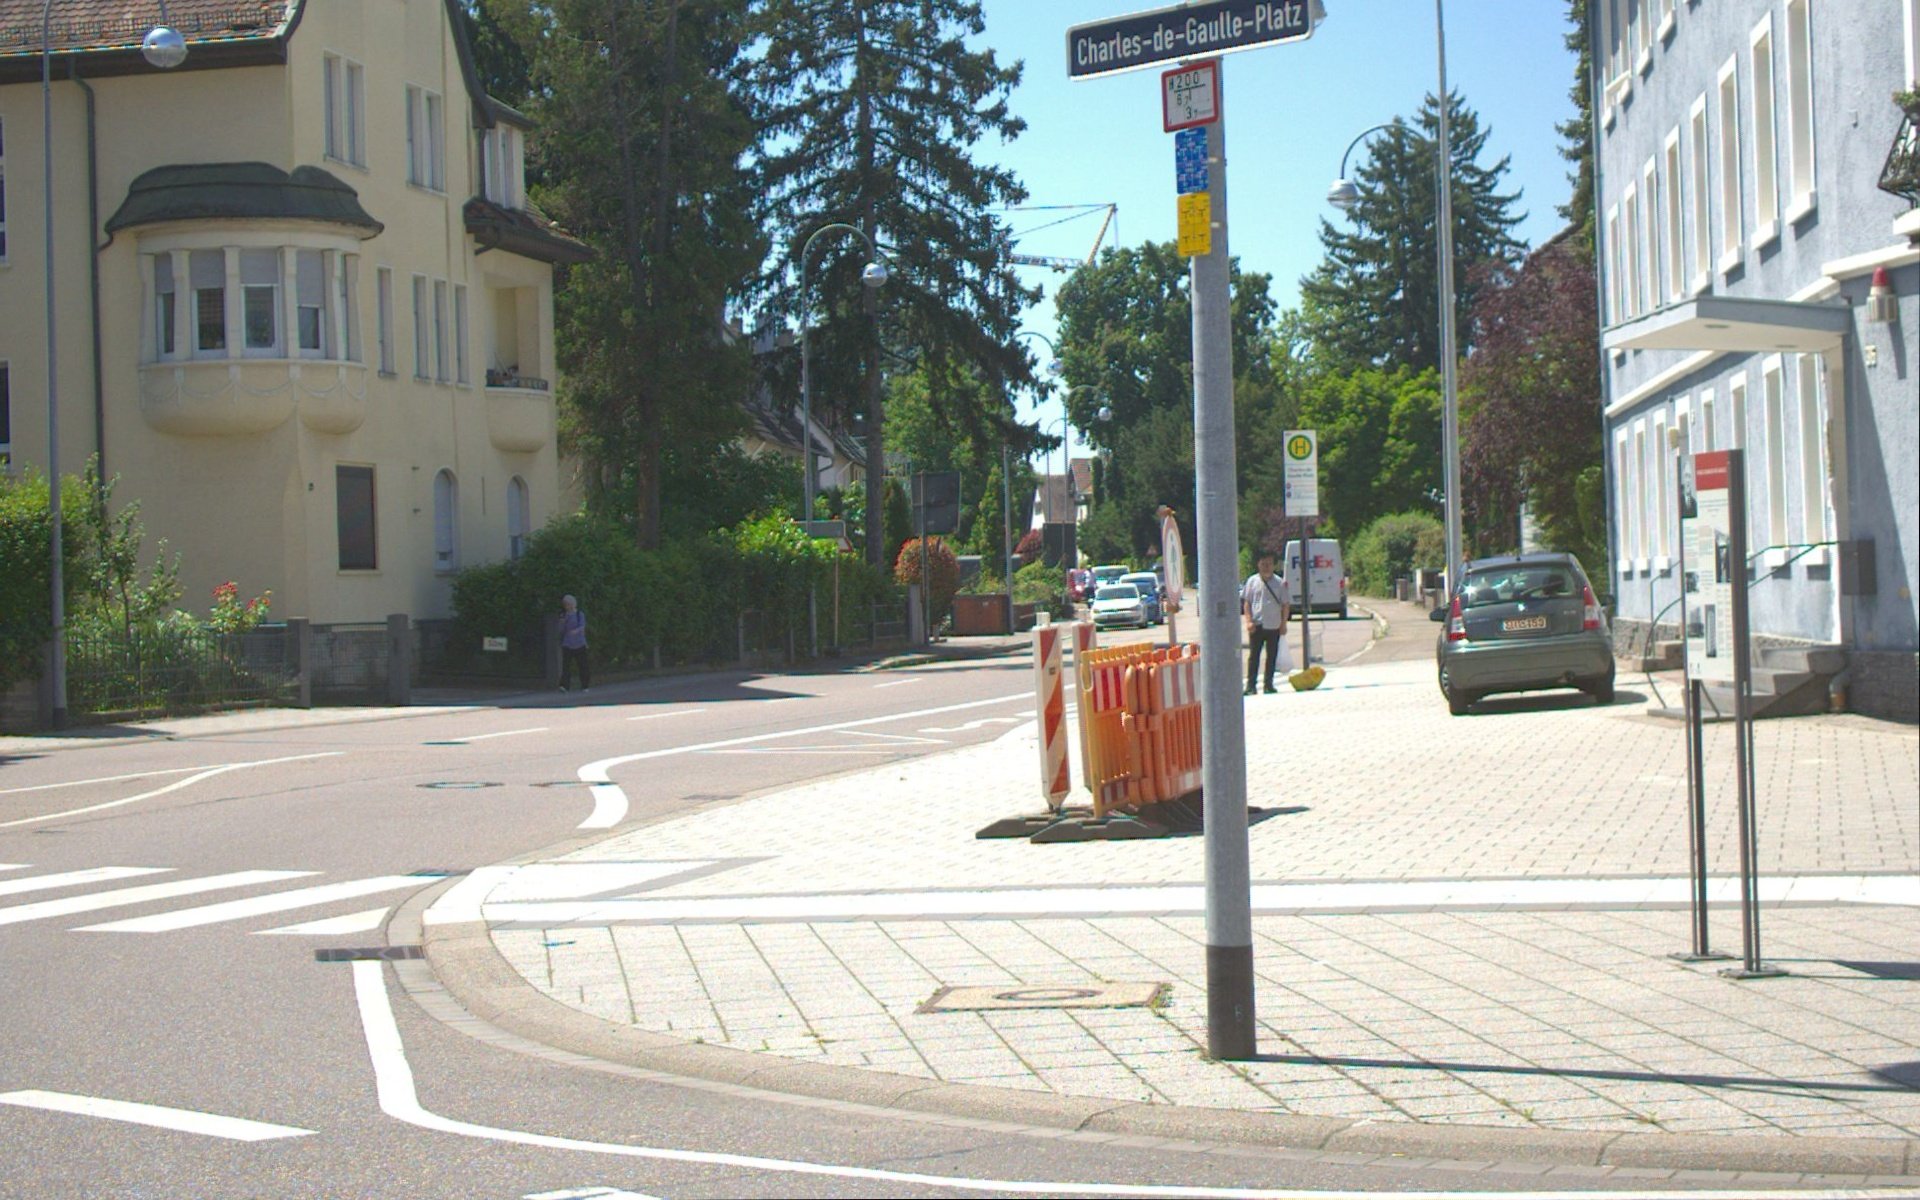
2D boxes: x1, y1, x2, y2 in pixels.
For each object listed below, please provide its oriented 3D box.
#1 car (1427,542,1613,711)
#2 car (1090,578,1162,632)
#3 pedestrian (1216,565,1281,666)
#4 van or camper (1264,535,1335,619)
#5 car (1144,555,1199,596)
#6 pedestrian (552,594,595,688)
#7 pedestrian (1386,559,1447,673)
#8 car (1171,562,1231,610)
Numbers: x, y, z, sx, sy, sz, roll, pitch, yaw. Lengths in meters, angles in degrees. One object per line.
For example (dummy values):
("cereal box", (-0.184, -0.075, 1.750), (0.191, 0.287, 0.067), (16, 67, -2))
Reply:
("car", (5.639, 0.232, 34.938), (1.640, 1.502, 3.563), (-4, 0, 8))
("car", (5.298, 0.145, 109.286), (1.994, 1.645, 3.999), (-1, 0, 6))
("pedestrian", (3.855, 0.208, 45.856), (0.667, 1.281, 0.587), (-5, 0, 15))
("van or camper", (10.877, -0.724, 110.165), (2.206, 2.602, 3.999), (-1, 0, 6))
("car", (10.586, -1.247, 172.524), (1.993, 2.007, 4.001), (-1, 1, -7))
("pedestrian", (-6.268, 0.662, 55.769), (0.523, 1.504, 0.473), (-1, 0, 14))
("pedestrian", (6.595, 0.225, 49.645), (0.667, 1.588, 0.587), (-5, 0, 15))
("car", (8.918, -0.536, 127.012), (1.994, 1.711, 3.999), (-1, 0, 7))
